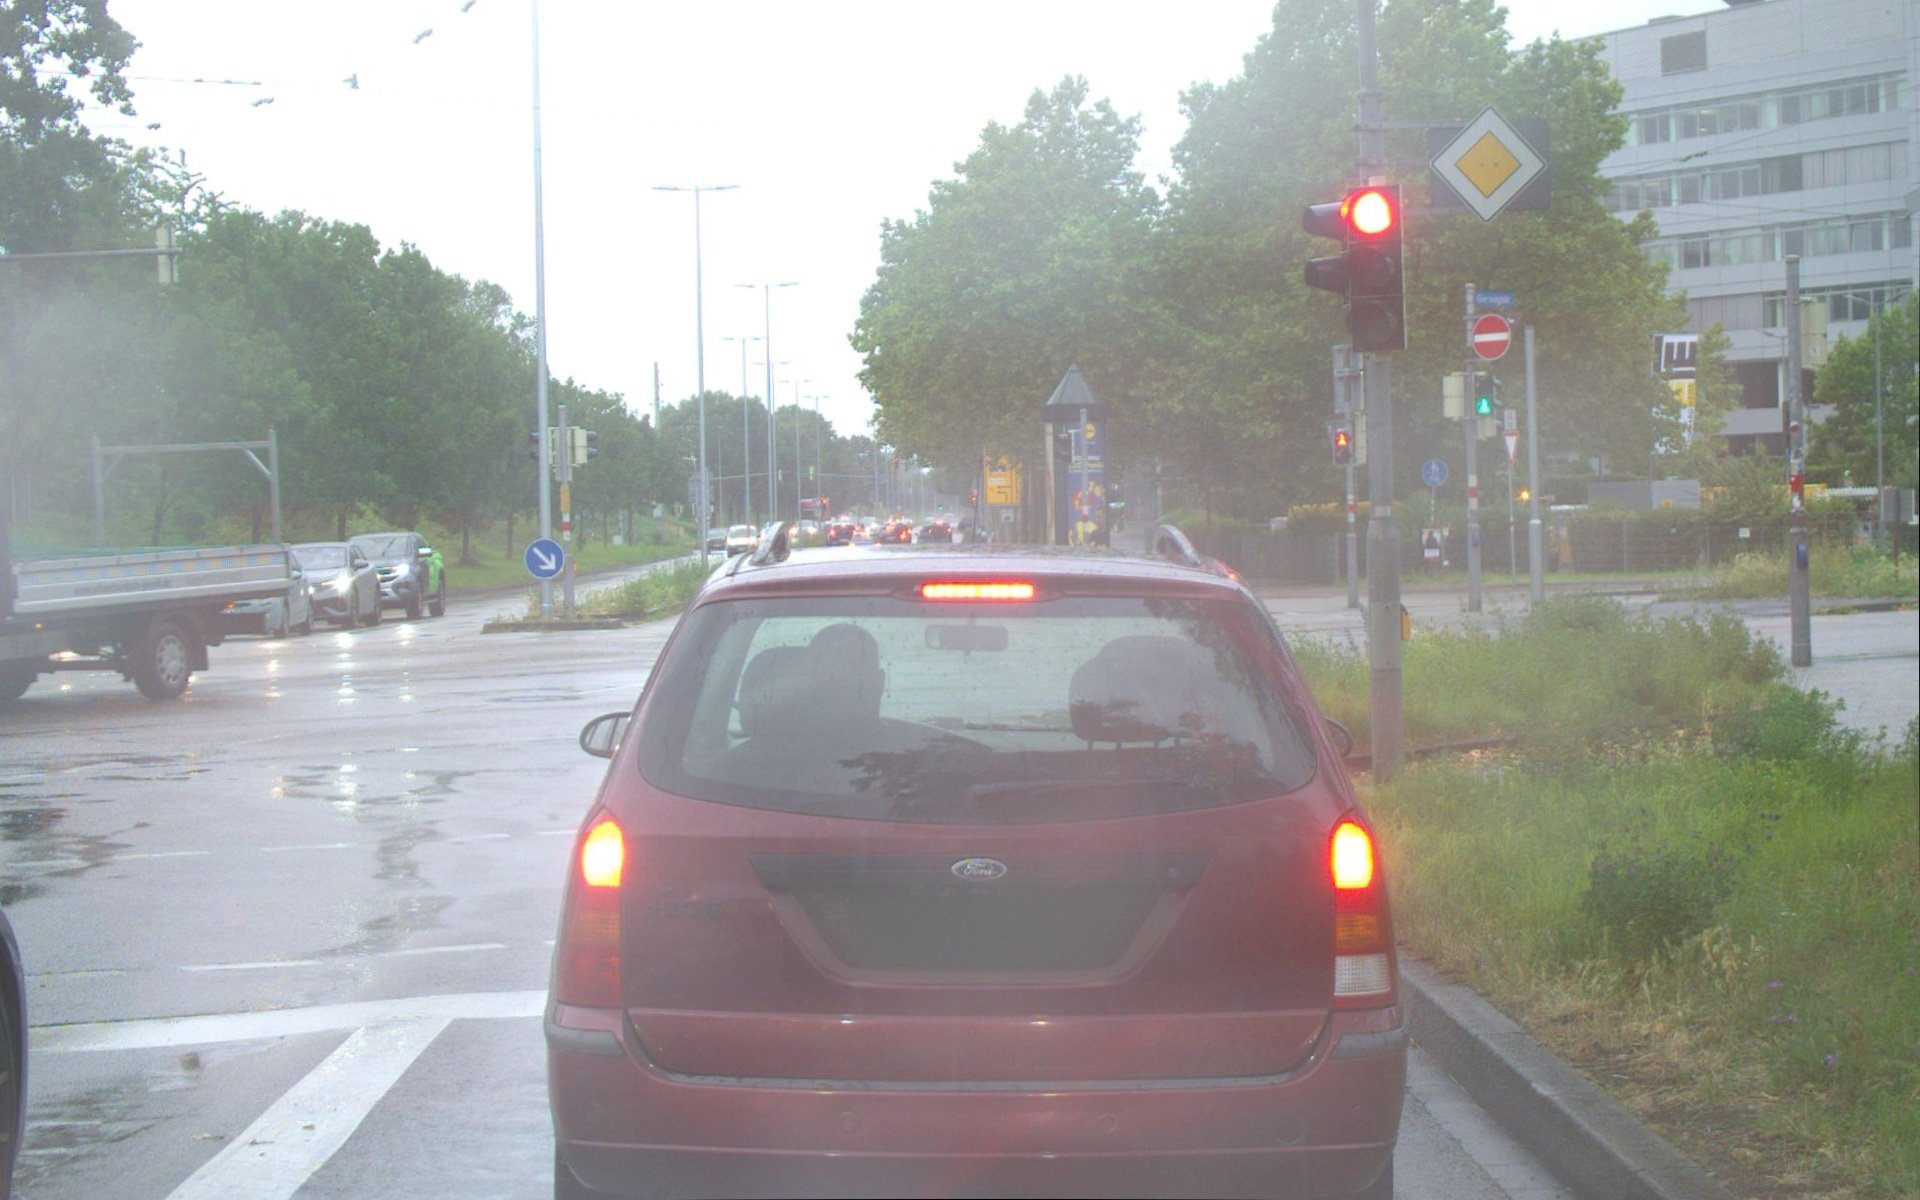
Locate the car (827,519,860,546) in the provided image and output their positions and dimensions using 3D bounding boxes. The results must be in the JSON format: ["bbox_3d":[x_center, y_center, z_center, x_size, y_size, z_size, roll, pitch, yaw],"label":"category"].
[{"bbox_3d":[-6.860,-3.986,202.161,1.698,1.522,3.846,-1,1,1],"label":"car"}]

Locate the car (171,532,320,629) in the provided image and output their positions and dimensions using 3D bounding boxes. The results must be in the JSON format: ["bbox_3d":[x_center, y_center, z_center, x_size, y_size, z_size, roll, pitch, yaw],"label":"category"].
[{"bbox_3d":[-11.630,-0.342,56.163,1.638,1.468,3.965,-2,1,-1],"label":"car"}]

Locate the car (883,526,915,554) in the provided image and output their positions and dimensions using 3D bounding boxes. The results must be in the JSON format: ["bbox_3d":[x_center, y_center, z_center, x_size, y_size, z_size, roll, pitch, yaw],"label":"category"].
[{"bbox_3d":[-3.436,-3.391,194.158,1.698,1.522,3.846,-1,1,1],"label":"car"}]

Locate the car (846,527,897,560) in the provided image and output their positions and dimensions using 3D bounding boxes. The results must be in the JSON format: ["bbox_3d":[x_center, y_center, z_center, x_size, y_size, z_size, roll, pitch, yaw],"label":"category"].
[{"bbox_3d":[-4.184,-2.686,163.139,2.147,1.522,4.192,-1,1,2],"label":"car"}]

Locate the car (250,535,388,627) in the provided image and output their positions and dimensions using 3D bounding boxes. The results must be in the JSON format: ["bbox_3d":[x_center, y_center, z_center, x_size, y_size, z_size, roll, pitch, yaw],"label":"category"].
[{"bbox_3d":[-11.740,-0.361,63.248,1.762,1.580,4.814,-2,1,-2],"label":"car"}]

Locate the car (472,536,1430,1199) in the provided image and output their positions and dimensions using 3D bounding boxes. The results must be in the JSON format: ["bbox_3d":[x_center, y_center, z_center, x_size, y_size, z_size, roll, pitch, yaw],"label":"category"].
[{"bbox_3d":[-0.068,0.605,7.817,1.642,1.460,3.733,1,1,-2],"label":"car"}]

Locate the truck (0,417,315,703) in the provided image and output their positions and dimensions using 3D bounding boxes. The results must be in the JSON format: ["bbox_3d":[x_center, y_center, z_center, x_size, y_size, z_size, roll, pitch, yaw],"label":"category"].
[{"bbox_3d":[-8.657,-0.340,29.716,2.477,2.357,6.859,-1,1,25],"label":"truck"}]

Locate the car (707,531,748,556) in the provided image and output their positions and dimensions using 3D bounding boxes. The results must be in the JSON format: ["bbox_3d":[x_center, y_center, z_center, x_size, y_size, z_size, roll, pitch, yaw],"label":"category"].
[{"bbox_3d":[-14.636,-3.551,216.558,2.094,1.522,4.192,-1,1,2],"label":"car"}]

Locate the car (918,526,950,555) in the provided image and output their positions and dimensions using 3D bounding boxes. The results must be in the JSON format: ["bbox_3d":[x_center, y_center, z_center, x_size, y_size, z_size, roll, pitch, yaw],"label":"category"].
[{"bbox_3d":[-1.421,-3.301,190.390,1.671,1.522,3.846,-1,1,1],"label":"car"}]

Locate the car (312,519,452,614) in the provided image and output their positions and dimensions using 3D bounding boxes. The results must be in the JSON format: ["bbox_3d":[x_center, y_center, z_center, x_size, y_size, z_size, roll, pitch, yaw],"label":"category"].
[{"bbox_3d":[-11.961,-0.732,71.428,2.065,1.813,5.542,-2,1,-2],"label":"car"}]

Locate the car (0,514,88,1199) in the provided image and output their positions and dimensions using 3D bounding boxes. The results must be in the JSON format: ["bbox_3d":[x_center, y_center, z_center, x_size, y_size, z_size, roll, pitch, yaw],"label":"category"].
[{"bbox_3d":[-2.685,0.648,4.895,1.769,1.568,4.822,1,1,-2],"label":"car"}]
